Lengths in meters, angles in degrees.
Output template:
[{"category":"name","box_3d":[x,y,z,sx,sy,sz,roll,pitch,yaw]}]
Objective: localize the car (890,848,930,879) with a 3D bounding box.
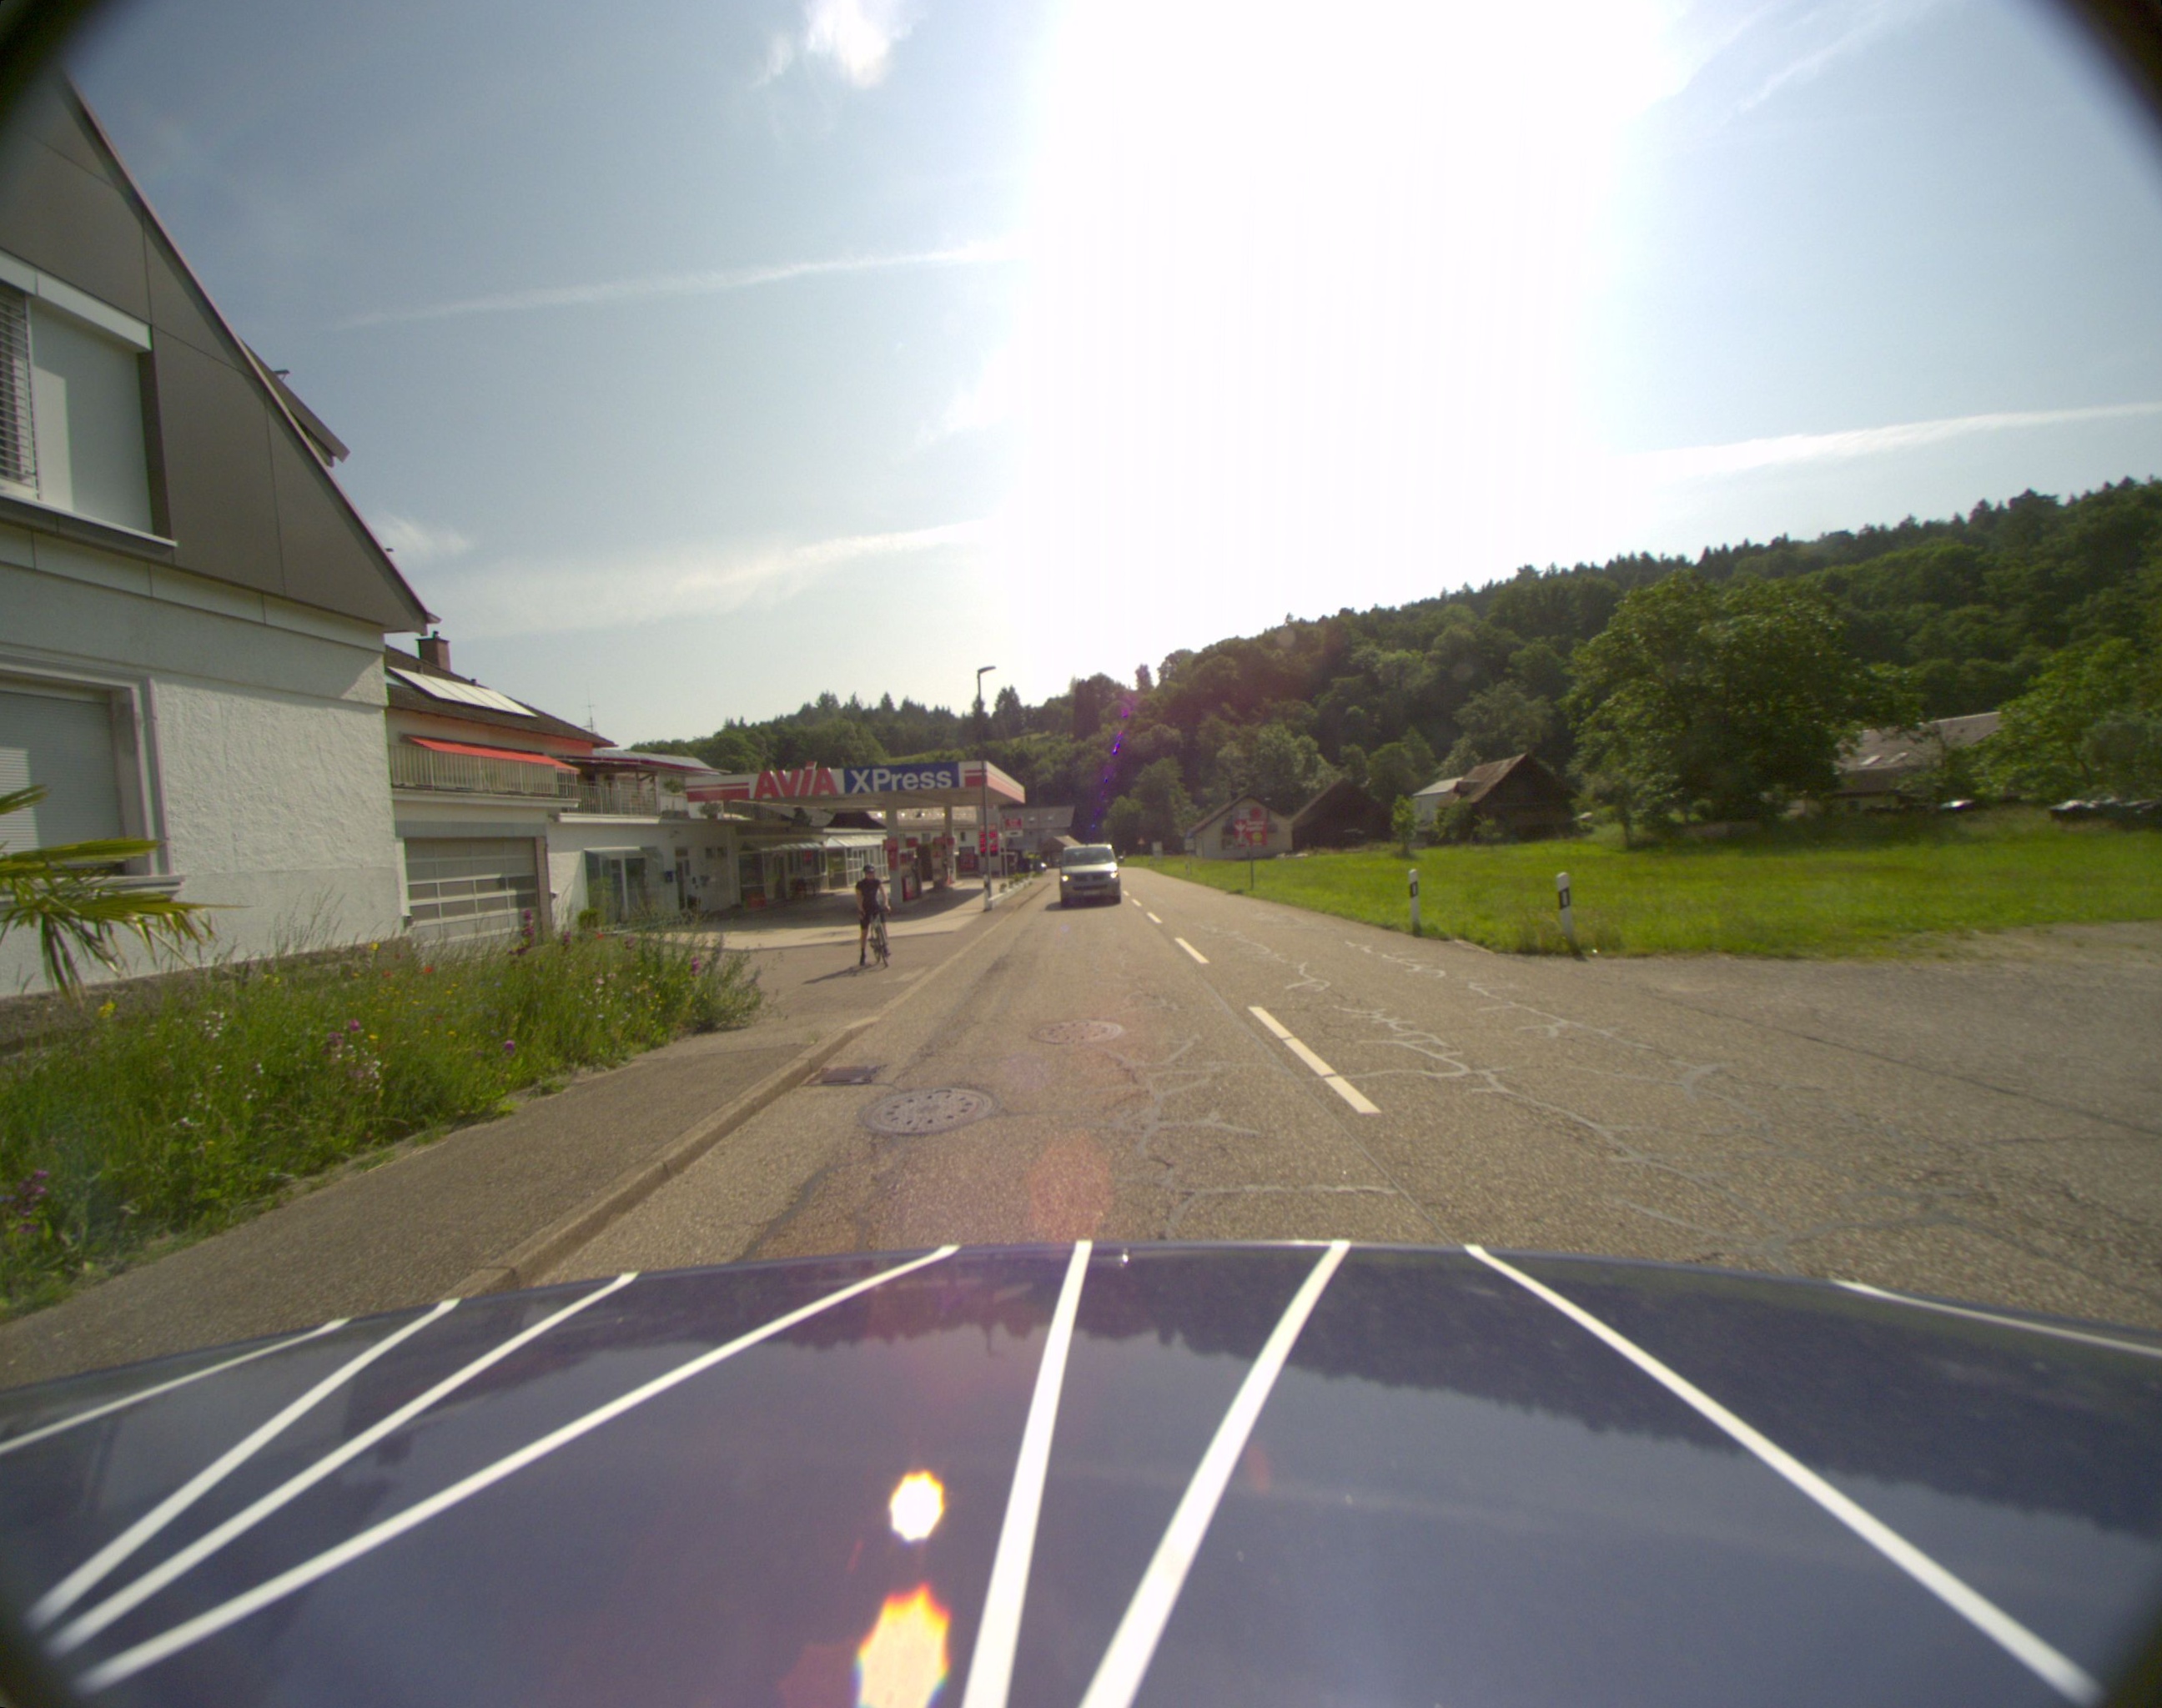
[{"category":"car","box_3d":[-11.611,0.609,51.837,1.684,1.805,3.999,-5,1,0]}]

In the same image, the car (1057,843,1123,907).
[{"category":"car","box_3d":[0.297,0.678,26.542,2.024,1.970,5.048,-2,0,0]}]

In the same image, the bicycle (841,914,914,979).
[{"category":"bicycle","box_3d":[-3.380,1.478,12.490,0.691,0.912,1.946,-5,-1,-27]}]

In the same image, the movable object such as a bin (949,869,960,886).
[{"category":"movable object such as a bin","box_3d":[-6.863,1.274,41.213,0.481,0.840,0.496,-4,1,-2]}]

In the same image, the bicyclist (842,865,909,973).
[{"category":"bicyclist","box_3d":[-3.393,1.053,12.462,0.691,1.623,1.139,-5,-1,-27]}]

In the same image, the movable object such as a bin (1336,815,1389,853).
[{"category":"movable object such as a bin","box_3d":[25.858,-1.802,69.973,4.185,3.119,2.205,-4,1,15]}]

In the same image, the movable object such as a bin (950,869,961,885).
[{"category":"movable object such as a bin","box_3d":[-6.888,1.284,41.790,0.481,0.840,0.528,-4,1,-1]}]
